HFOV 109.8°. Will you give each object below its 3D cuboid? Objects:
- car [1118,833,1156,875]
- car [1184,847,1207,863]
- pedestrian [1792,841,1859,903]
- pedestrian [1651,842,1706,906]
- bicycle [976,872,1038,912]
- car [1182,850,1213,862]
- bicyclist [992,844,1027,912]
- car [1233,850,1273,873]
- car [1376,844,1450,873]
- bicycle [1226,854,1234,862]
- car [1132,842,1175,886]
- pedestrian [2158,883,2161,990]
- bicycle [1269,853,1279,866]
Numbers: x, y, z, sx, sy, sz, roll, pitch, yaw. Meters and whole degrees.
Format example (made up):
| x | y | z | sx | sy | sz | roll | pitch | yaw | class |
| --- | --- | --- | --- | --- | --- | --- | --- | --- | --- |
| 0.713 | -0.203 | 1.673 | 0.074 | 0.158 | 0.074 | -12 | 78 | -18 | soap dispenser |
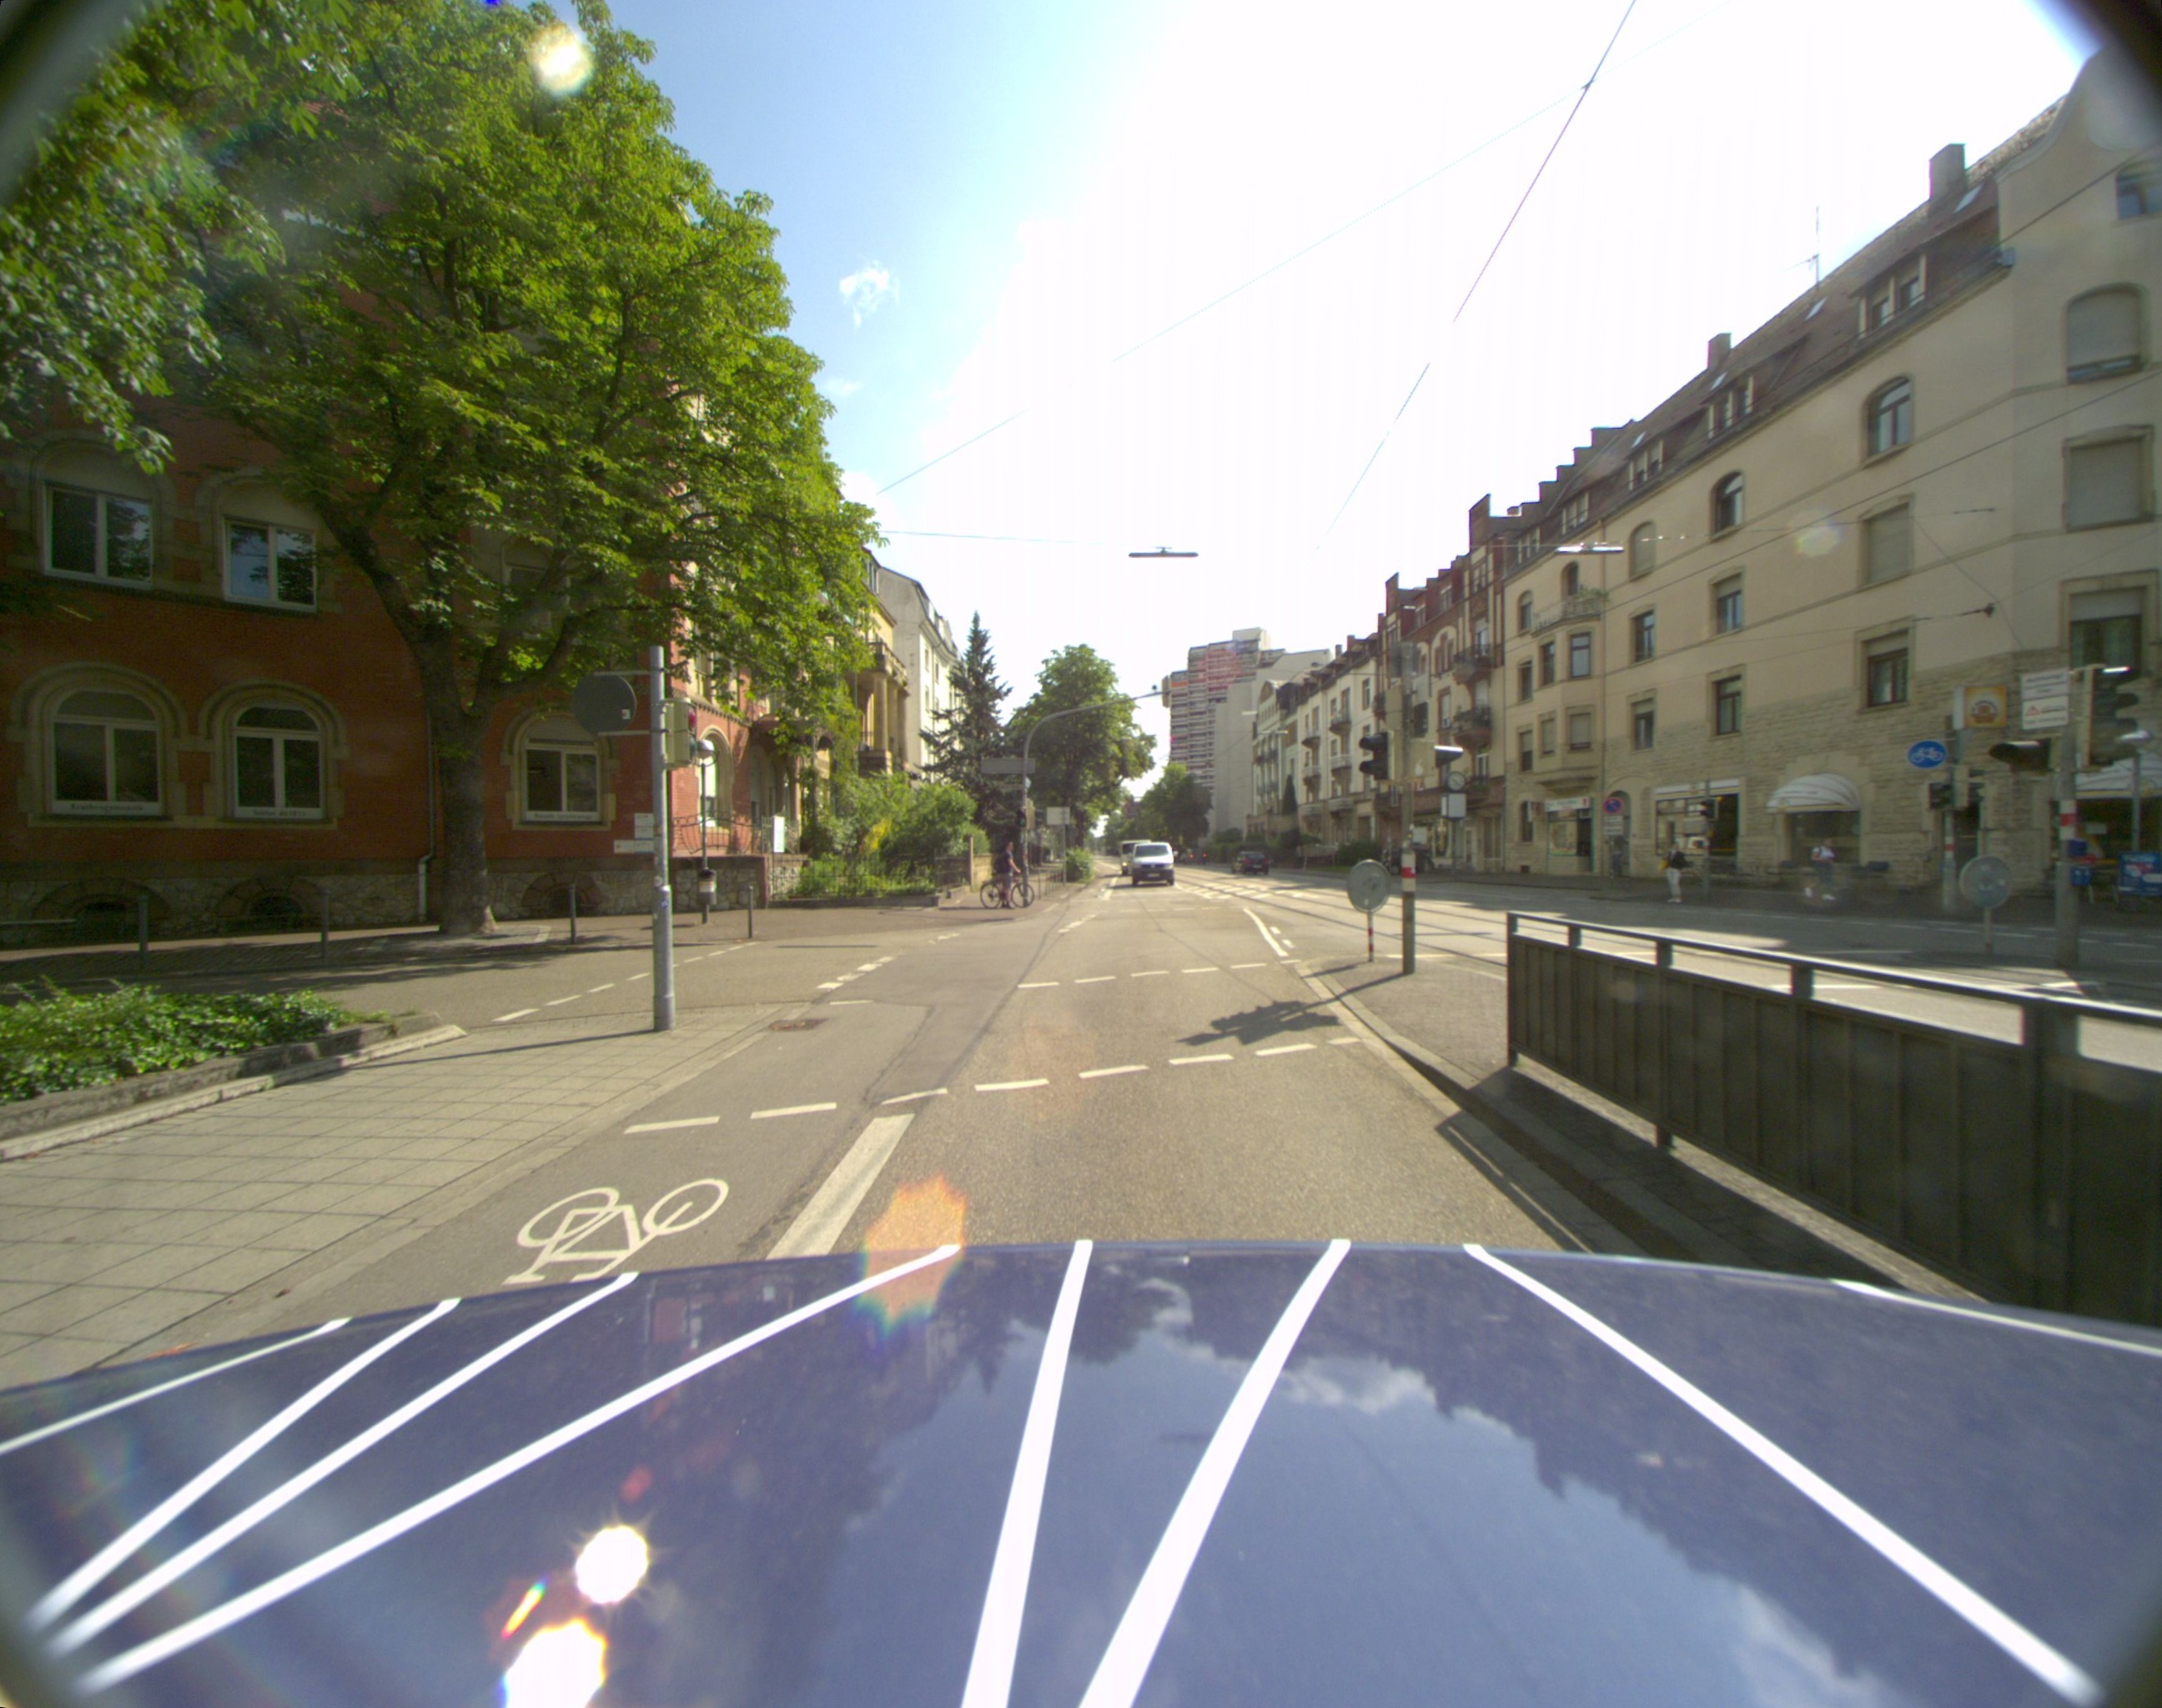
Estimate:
| x | y | z | sx | sy | sz | roll | pitch | yaw | class |
| --- | --- | --- | --- | --- | --- | --- | --- | --- | --- |
| 3.603 | -0.001 | 50.011 | 2.167 | 2.572 | 5.663 | -1 | 0 | 1 | car |
| 12.774 | 0.069 | 84.972 | 1.796 | 1.701 | 4.331 | 0 | 0 | -1 | car |
| 19.252 | 0.451 | 19.667 | 0.695 | 1.533 | 0.963 | -5 | 1 | 1 | pedestrian |
| 16.766 | 0.541 | 21.340 | 0.758 | 1.695 | 0.874 | -5 | 1 | -1 | pedestrian |
| -2.003 | 1.019 | 20.783 | 0.389 | 1.029 | 1.849 | 1 | 0 | 45 | bicycle |
| 15.420 | 0.240 | 100.963 | 3.889 | 1.527 | 1.635 | 0 | 1 | 2 | car |
| -1.960 | 0.642 | 20.814 | 0.736 | 1.809 | 0.819 | -1 | 1 | -22 | bicyclist |
| 10.782 | 0.476 | 47.873 | 1.629 | 1.379 | 3.435 | 1 | 0 | -3 | car |
| 19.136 | 0.249 | 43.887 | 3.452 | 1.478 | 1.706 | -2 | 1 | 1 | car |
| 15.290 | 0.382 | 78.052 | 0.587 | 0.792 | 1.873 | -3 | 1 | 4 | bicycle |
| 3.343 | 0.430 | 35.179 | 1.830 | 1.856 | 4.847 | -1 | 0 | 5 | car |
| 11.429 | 0.846 | 7.622 | 0.643 | 1.107 | 0.443 | 0 | 1 | -5 | pedestrian |
| 15.695 | 0.445 | 61.753 | 0.524 | 0.901 | 2.067 | 0 | 2 | 7 | bicycle |
